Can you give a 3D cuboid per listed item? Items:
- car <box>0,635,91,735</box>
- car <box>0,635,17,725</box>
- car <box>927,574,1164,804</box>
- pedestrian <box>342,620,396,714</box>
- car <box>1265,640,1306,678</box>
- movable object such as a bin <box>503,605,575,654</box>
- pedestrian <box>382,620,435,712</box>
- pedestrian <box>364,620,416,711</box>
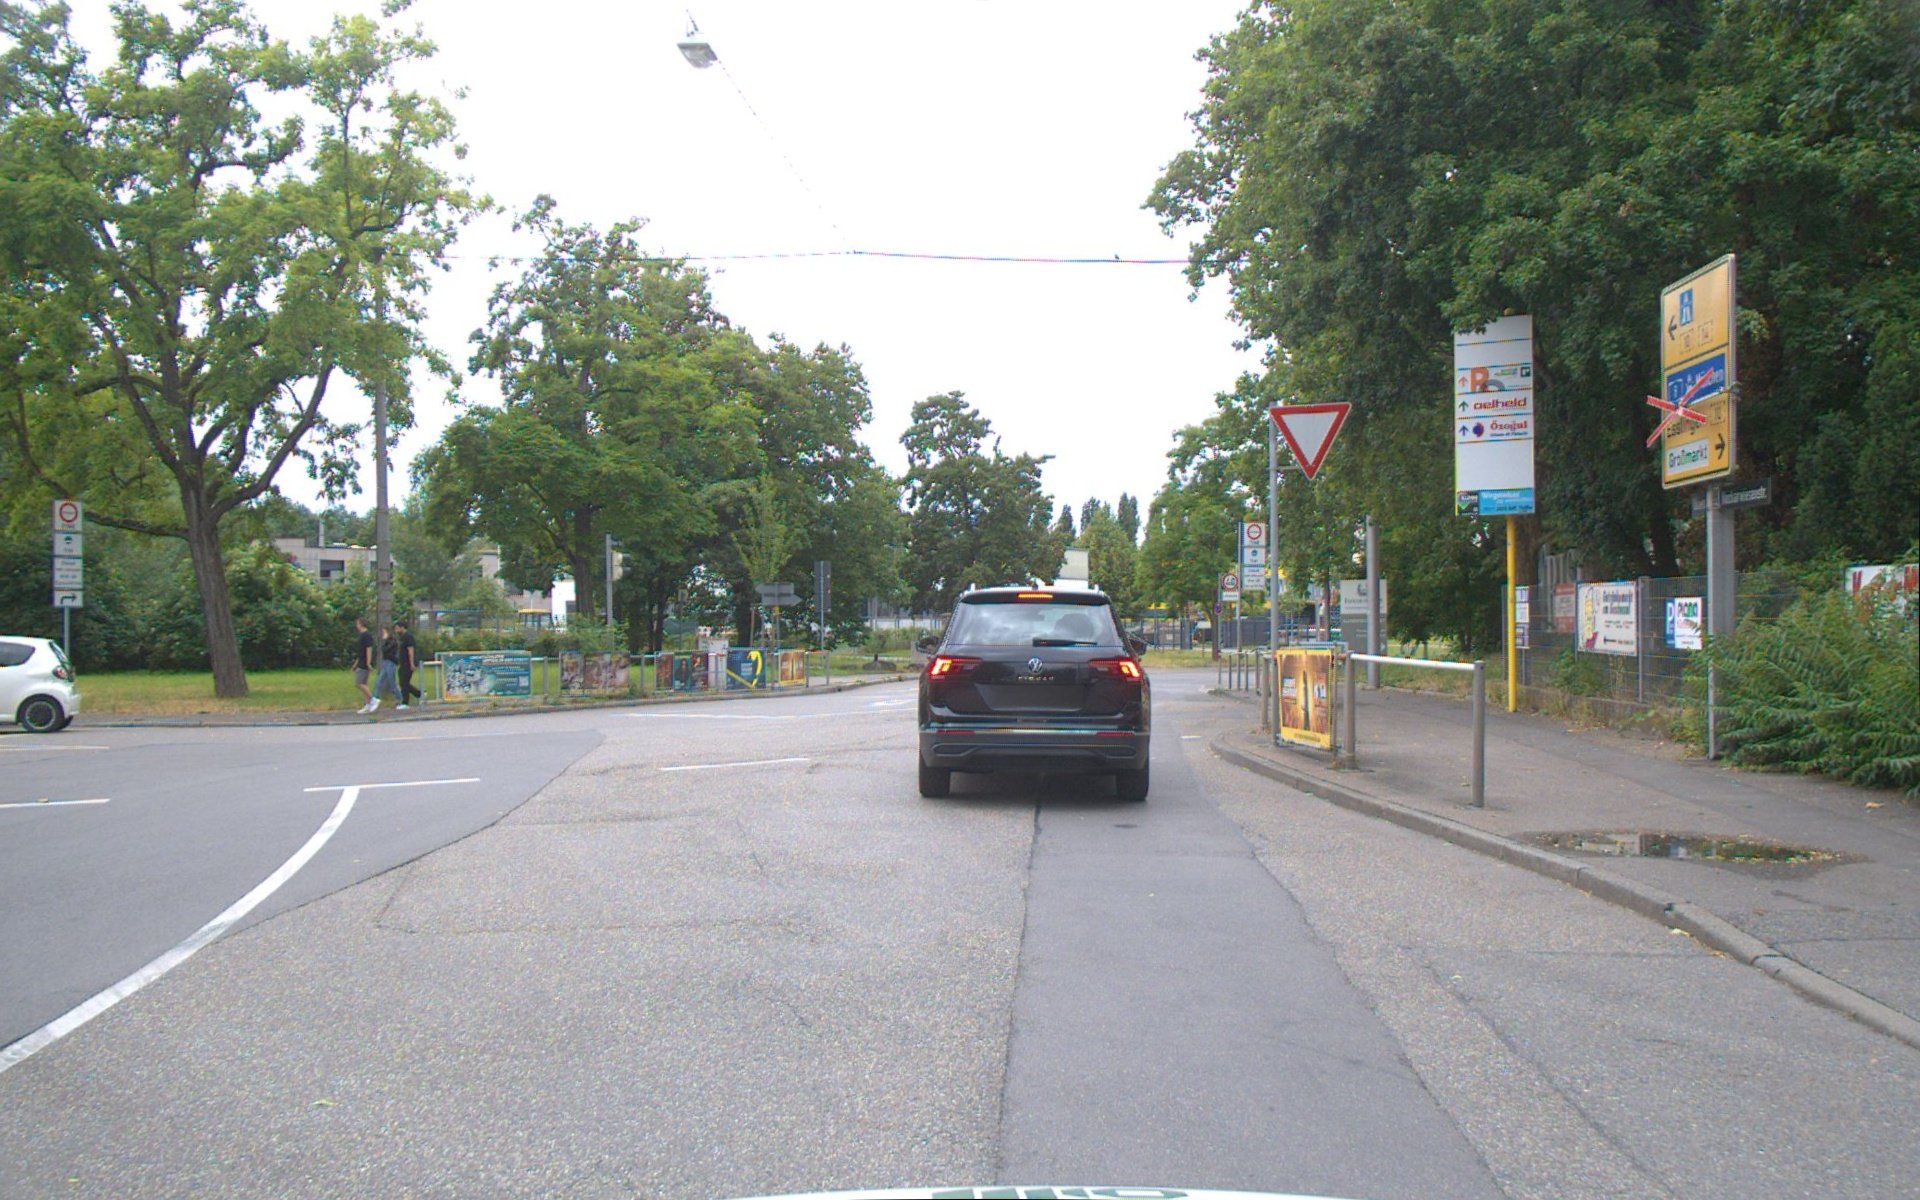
[{"bbox_3d":[-15.103,1.291,24.753,3.557,1.434,1.728,-1,-1,-24],"label":"car"},{"bbox_3d":[-17.942,1.390,27.693,3.327,1.504,1.639,-1,-1,-5],"label":"car"},{"bbox_3d":[0.628,0.669,13.701,1.703,1.646,3.641,0,-1,0],"label":"car"},{"bbox_3d":[-11.404,1.286,31.898,0.731,1.772,0.722,-2,-1,45],"label":"pedestrian"},{"bbox_3d":[14.887,2.699,75.597,1.623,1.602,3.831,-2,-1,14],"label":"car"},{"bbox_3d":[-18.139,1.268,71.322,1.954,2.049,2.397,-1,-1,25],"label":"movable object such as a bin"},{"bbox_3d":[-10.895,1.300,32.667,0.731,1.772,0.722,-2,-1,45],"label":"pedestrian"},{"bbox_3d":[-11.446,1.308,33.217,0.731,1.772,0.722,-2,-1,45],"label":"pedestrian"}]
